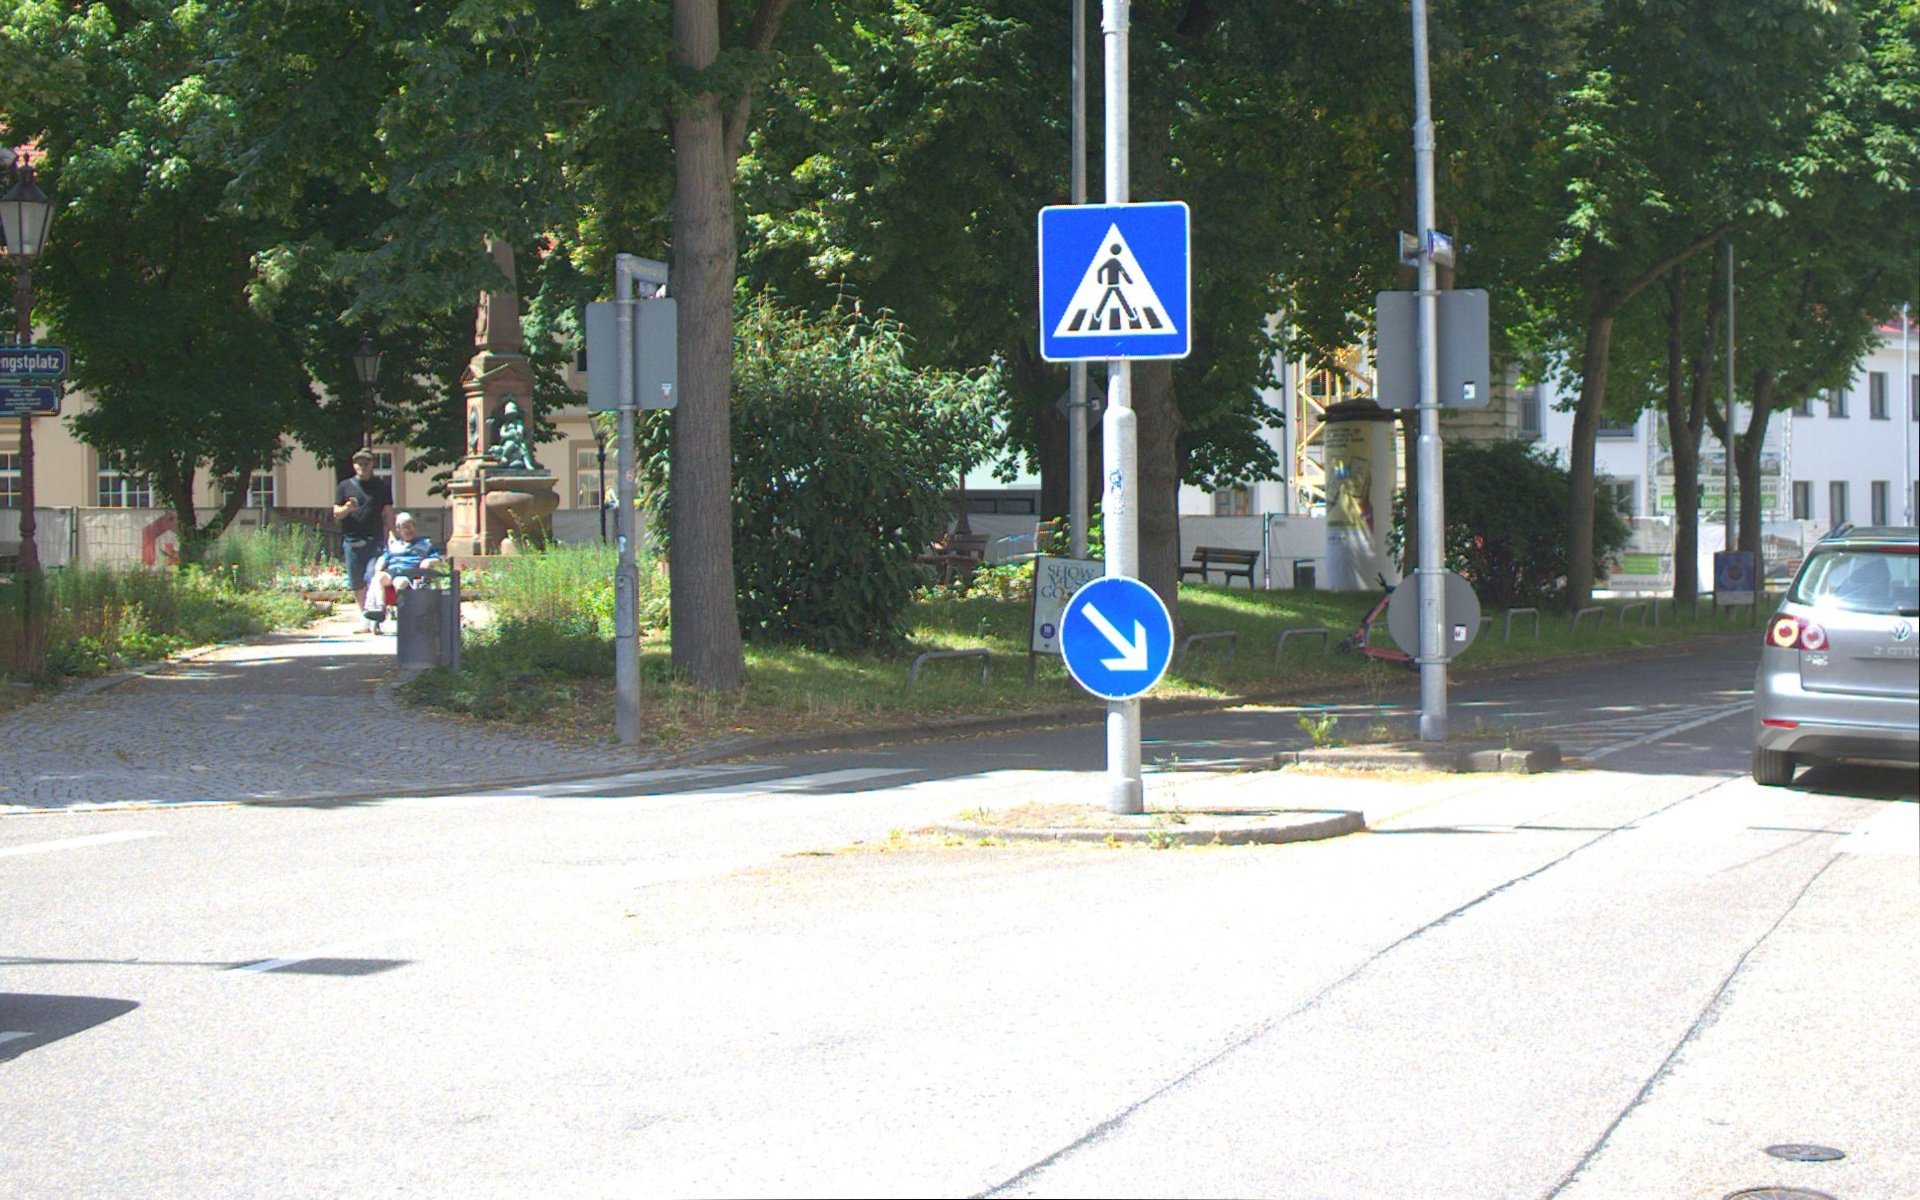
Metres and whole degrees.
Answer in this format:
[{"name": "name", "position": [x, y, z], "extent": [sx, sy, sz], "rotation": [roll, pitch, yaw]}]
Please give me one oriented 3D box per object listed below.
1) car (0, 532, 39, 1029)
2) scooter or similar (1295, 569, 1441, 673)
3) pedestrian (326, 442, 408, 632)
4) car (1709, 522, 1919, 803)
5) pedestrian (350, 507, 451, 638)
[{"name": "car", "position": [-4.129, 0.576, 8.522], "extent": [1.738, 1.483, 4.406], "rotation": [0, 1, 12]}, {"name": "scooter or similar", "position": [4.676, 0.227, 39.302], "extent": [1.273, 0.988, 1.450], "rotation": [9, 3, 18]}, {"name": "pedestrian", "position": [-6.011, -0.650, 34.866], "extent": [0.747, 1.904, 0.684], "rotation": [-1, 2, -6]}, {"name": "car", "position": [6.043, 0.323, 21.319], "extent": [1.906, 1.528, 4.238], "rotation": [3, 2, 23]}, {"name": "pedestrian", "position": [-5.526, -0.281, 34.002], "extent": [0.905, 1.247, 1.148], "rotation": [-1, 3, -6]}]
